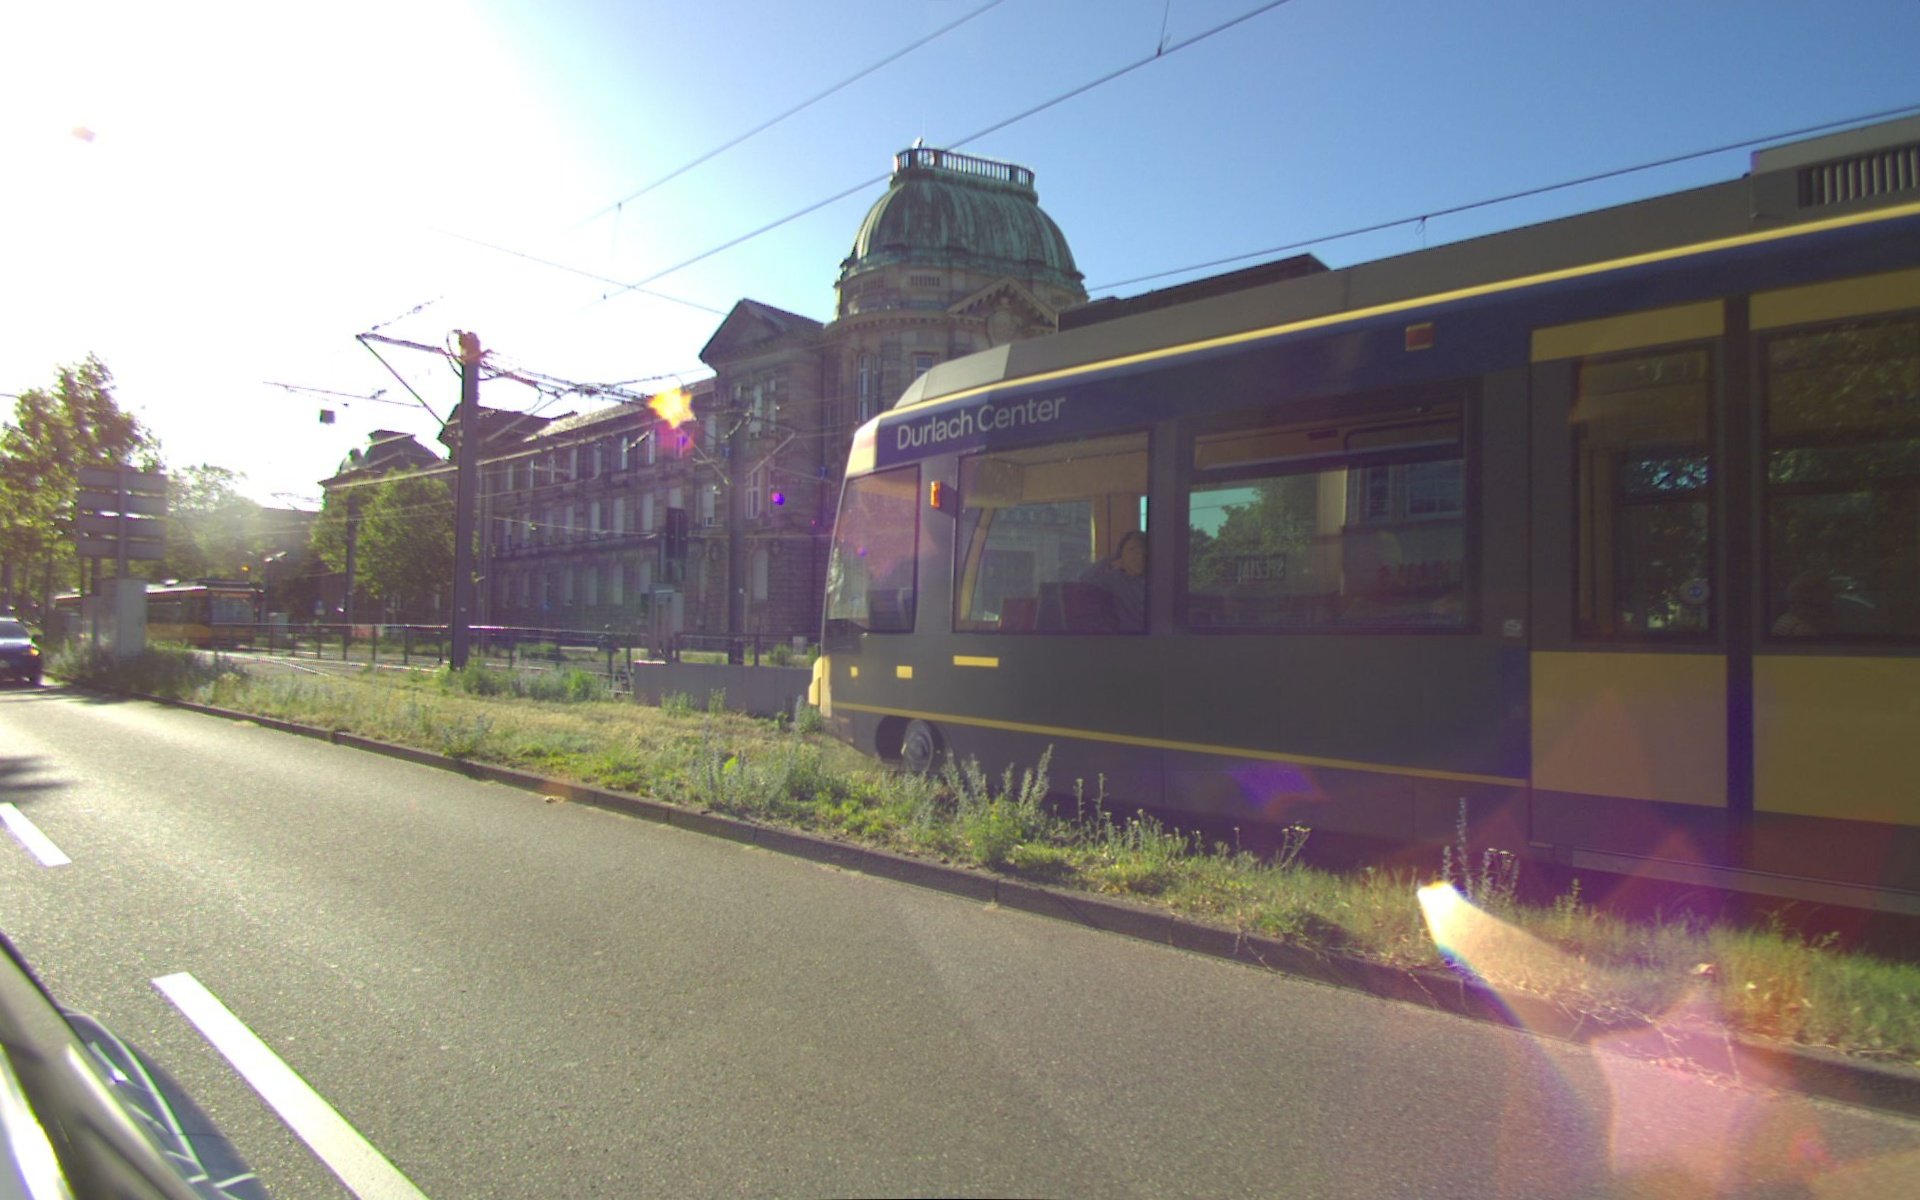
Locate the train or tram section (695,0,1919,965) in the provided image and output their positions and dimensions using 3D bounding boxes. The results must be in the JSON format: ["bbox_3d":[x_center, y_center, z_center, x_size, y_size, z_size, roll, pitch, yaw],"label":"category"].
[{"bbox_3d":[4.156,-0.630,4.894,14.264,3.841,2.899,-1,0,41],"label":"train or tram section"}]

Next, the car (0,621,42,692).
[{"bbox_3d":[-21.327,1.194,21.953,3.868,1.459,1.754,-1,-1,42],"label":"car"}]

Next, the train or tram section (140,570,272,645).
[{"bbox_3d":[-38.989,0.426,52.103,11.277,3.510,2.931,-1,-1,40],"label":"train or tram section"}]

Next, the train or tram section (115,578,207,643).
[{"bbox_3d":[-45.576,0.592,57.648,6.054,3.510,2.927,-1,-1,40],"label":"train or tram section"}]

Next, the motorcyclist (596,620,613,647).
[{"bbox_3d":[-17.050,1.578,48.478,0.508,1.267,0.692,-1,0,-45],"label":"motorcyclist"}]

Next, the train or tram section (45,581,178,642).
[{"bbox_3d":[-56.026,0.850,66.364,21.197,3.510,2.934,-1,-1,40],"label":"train or tram section"}]

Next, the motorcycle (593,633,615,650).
[{"bbox_3d":[-17.081,1.987,48.540,1.522,0.789,0.364,-1,0,44],"label":"motorcycle"}]
